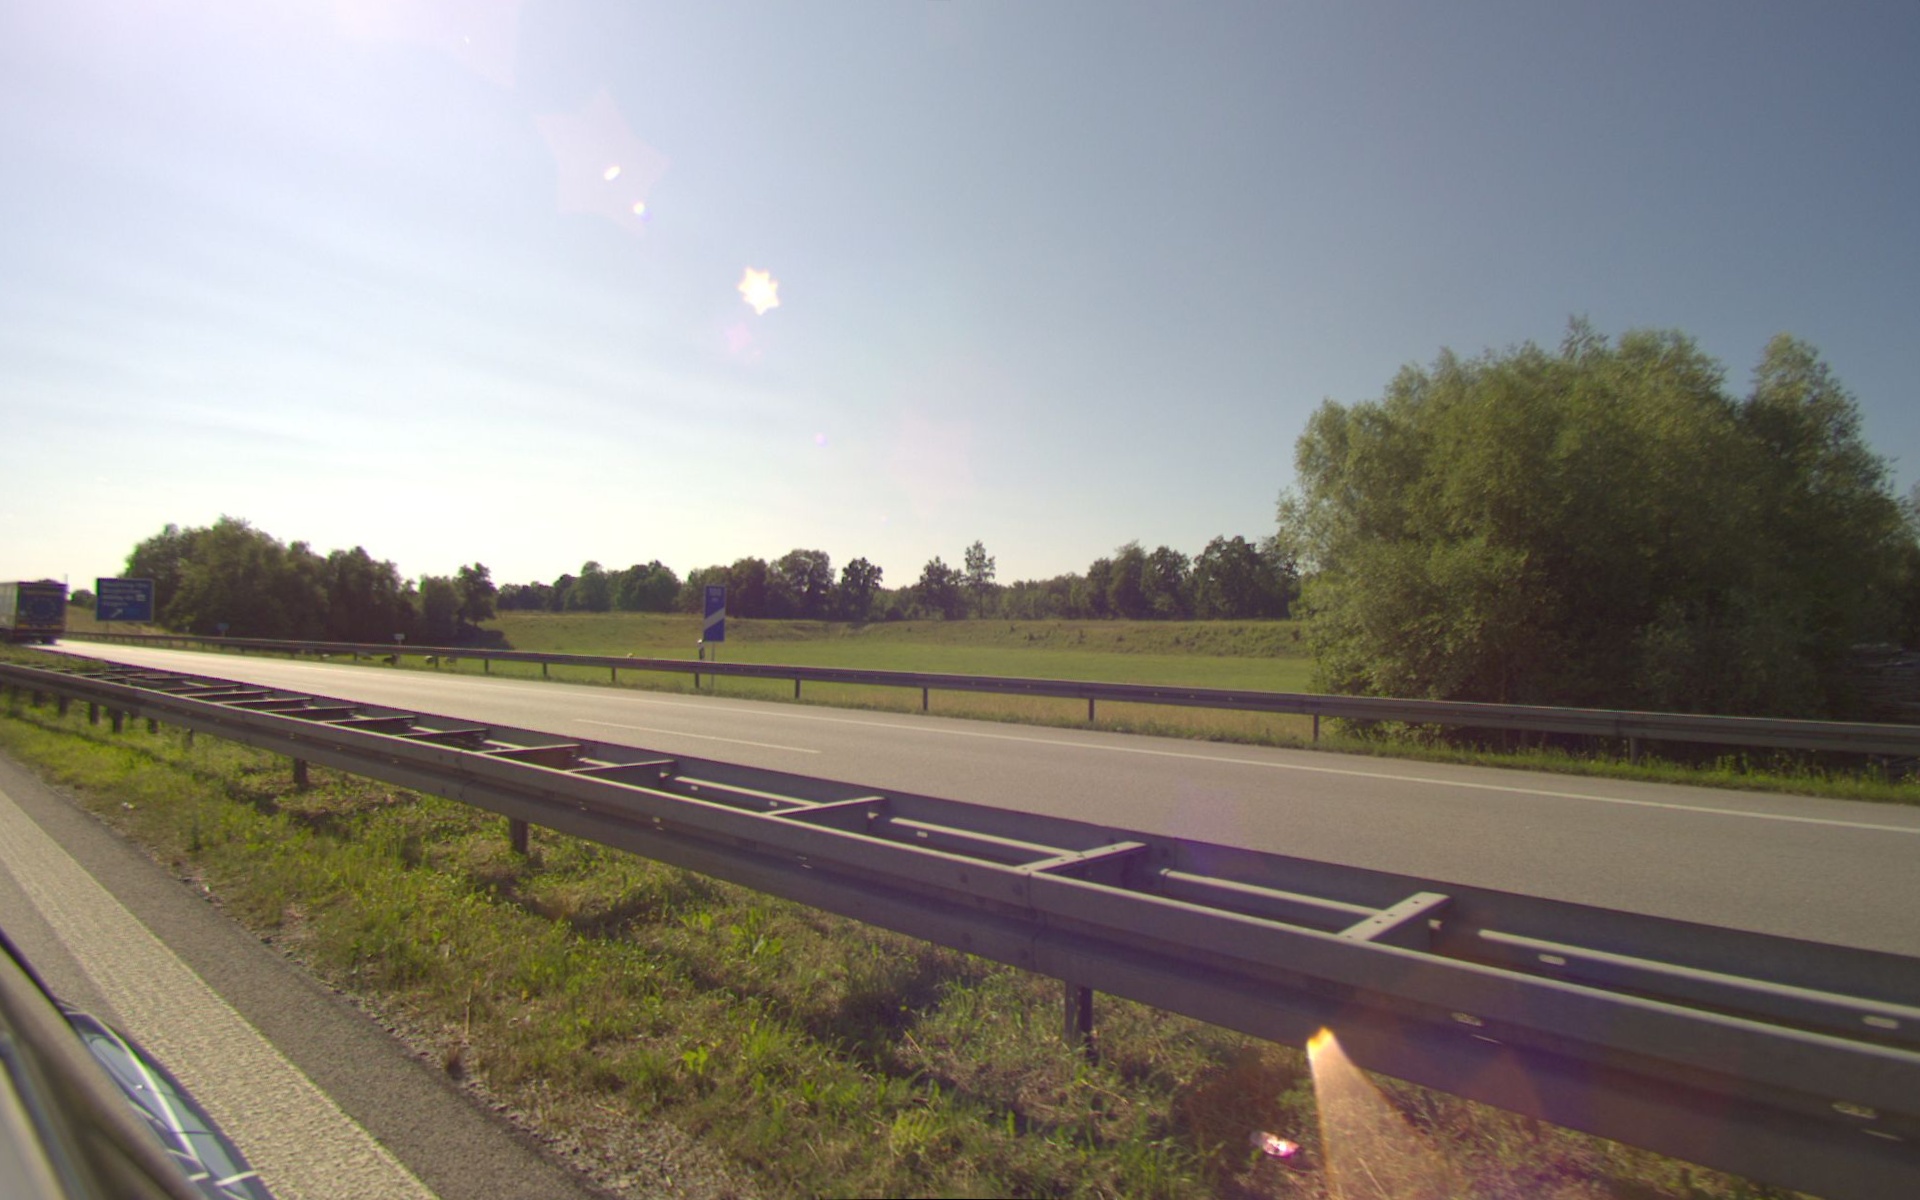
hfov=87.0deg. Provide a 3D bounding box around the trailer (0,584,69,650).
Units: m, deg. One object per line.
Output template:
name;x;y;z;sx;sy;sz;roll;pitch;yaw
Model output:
trailer;-65.208;1.216;70.368;14.383;4.192;2.759;-1;-3;40

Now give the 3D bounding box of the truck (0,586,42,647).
truck;-70.333;1.243;74.756;6.330;4.335;2.712;-1;-3;40
